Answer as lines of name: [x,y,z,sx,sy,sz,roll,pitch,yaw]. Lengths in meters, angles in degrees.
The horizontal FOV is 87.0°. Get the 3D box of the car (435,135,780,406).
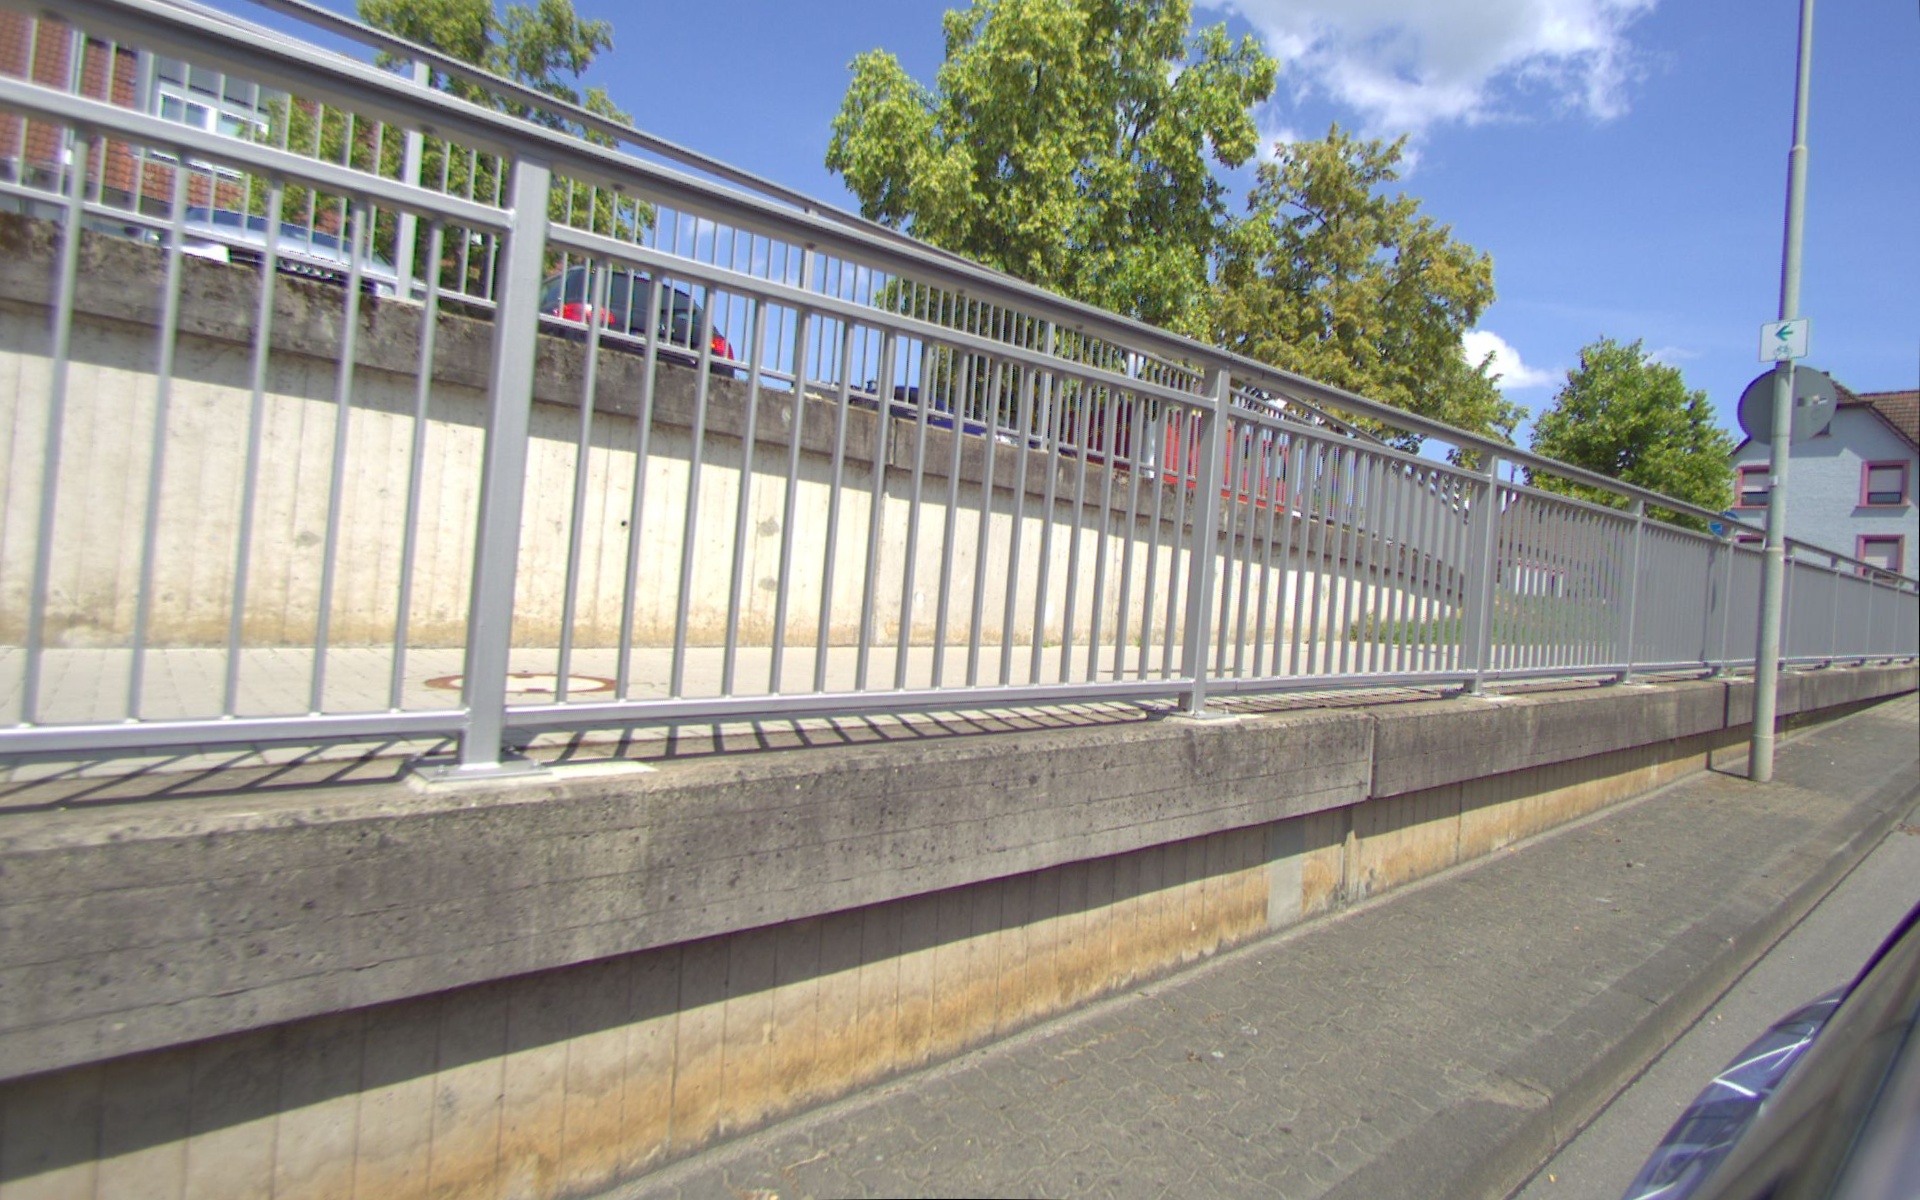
car: [-3.438,-2.764,9.365,1.740,1.323,3.998,1,2,-39]

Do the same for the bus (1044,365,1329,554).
bus: [4.202,-2.310,18.183,5.269,2.396,2.193,5,-1,-42]

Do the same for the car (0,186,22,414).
car: [-7.445,-2.334,6.470,1.692,1.575,3.998,1,1,-37]

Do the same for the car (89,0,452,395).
car: [-5.165,-2.683,7.563,1.692,1.446,3.998,4,-1,-37]

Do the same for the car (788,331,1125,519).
car: [-0.146,-1.978,12.528,3.983,1.650,1.835,0,0,41]
